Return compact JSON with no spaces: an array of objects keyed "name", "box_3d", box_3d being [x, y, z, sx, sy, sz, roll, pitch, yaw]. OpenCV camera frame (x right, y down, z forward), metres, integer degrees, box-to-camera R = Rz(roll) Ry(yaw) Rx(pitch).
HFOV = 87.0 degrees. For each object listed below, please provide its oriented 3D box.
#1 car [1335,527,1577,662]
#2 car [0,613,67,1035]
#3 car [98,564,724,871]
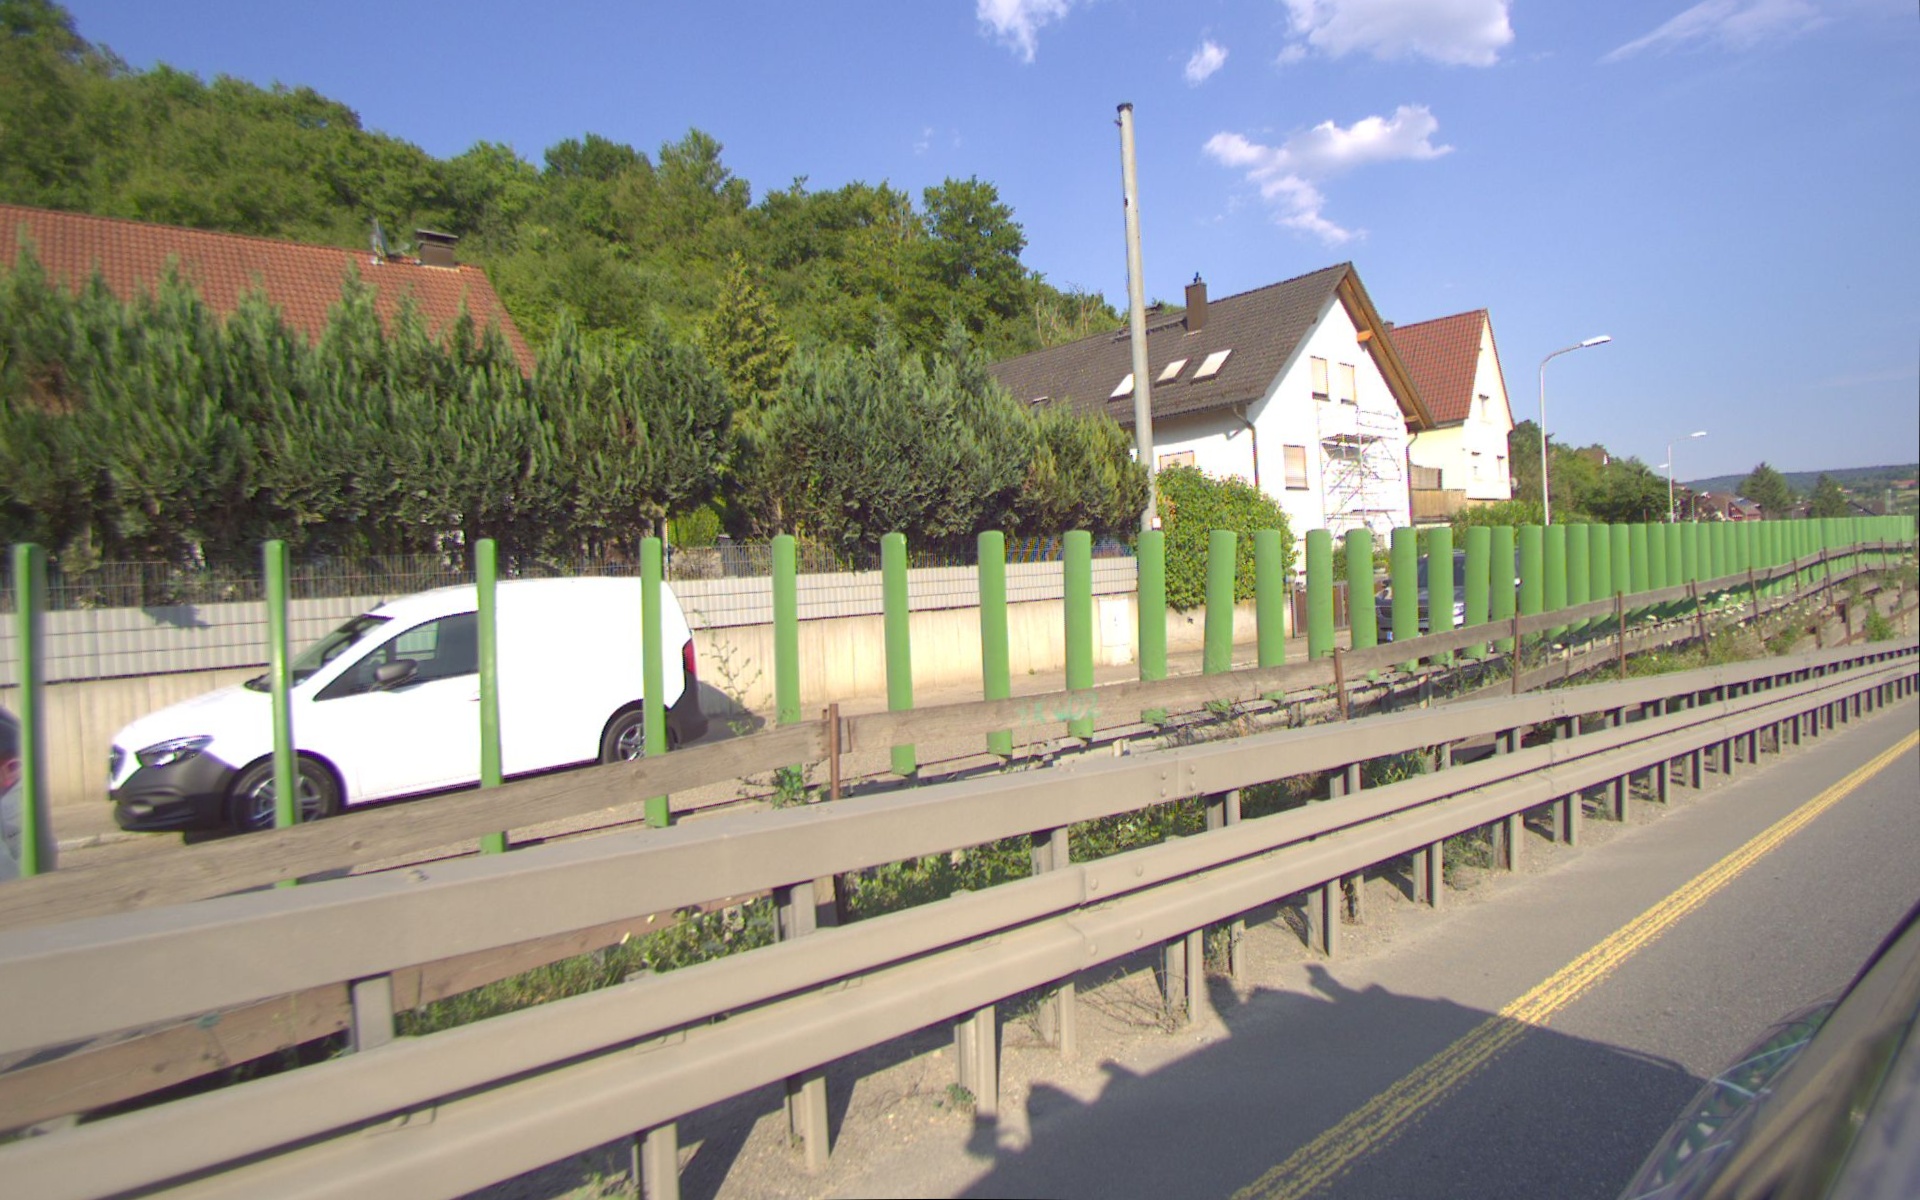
[{"name":"car","box_3d":[7.894,-0.053,15.950,4.173,1.836,1.885,-1,-3,-41]},{"name":"car","box_3d":[-6.076,1.018,3.328,4.567,1.679,1.701,-3,1,-39]},{"name":"car","box_3d":[-4.456,0.733,8.657,4.364,1.894,1.809,-3,0,-41]}]
